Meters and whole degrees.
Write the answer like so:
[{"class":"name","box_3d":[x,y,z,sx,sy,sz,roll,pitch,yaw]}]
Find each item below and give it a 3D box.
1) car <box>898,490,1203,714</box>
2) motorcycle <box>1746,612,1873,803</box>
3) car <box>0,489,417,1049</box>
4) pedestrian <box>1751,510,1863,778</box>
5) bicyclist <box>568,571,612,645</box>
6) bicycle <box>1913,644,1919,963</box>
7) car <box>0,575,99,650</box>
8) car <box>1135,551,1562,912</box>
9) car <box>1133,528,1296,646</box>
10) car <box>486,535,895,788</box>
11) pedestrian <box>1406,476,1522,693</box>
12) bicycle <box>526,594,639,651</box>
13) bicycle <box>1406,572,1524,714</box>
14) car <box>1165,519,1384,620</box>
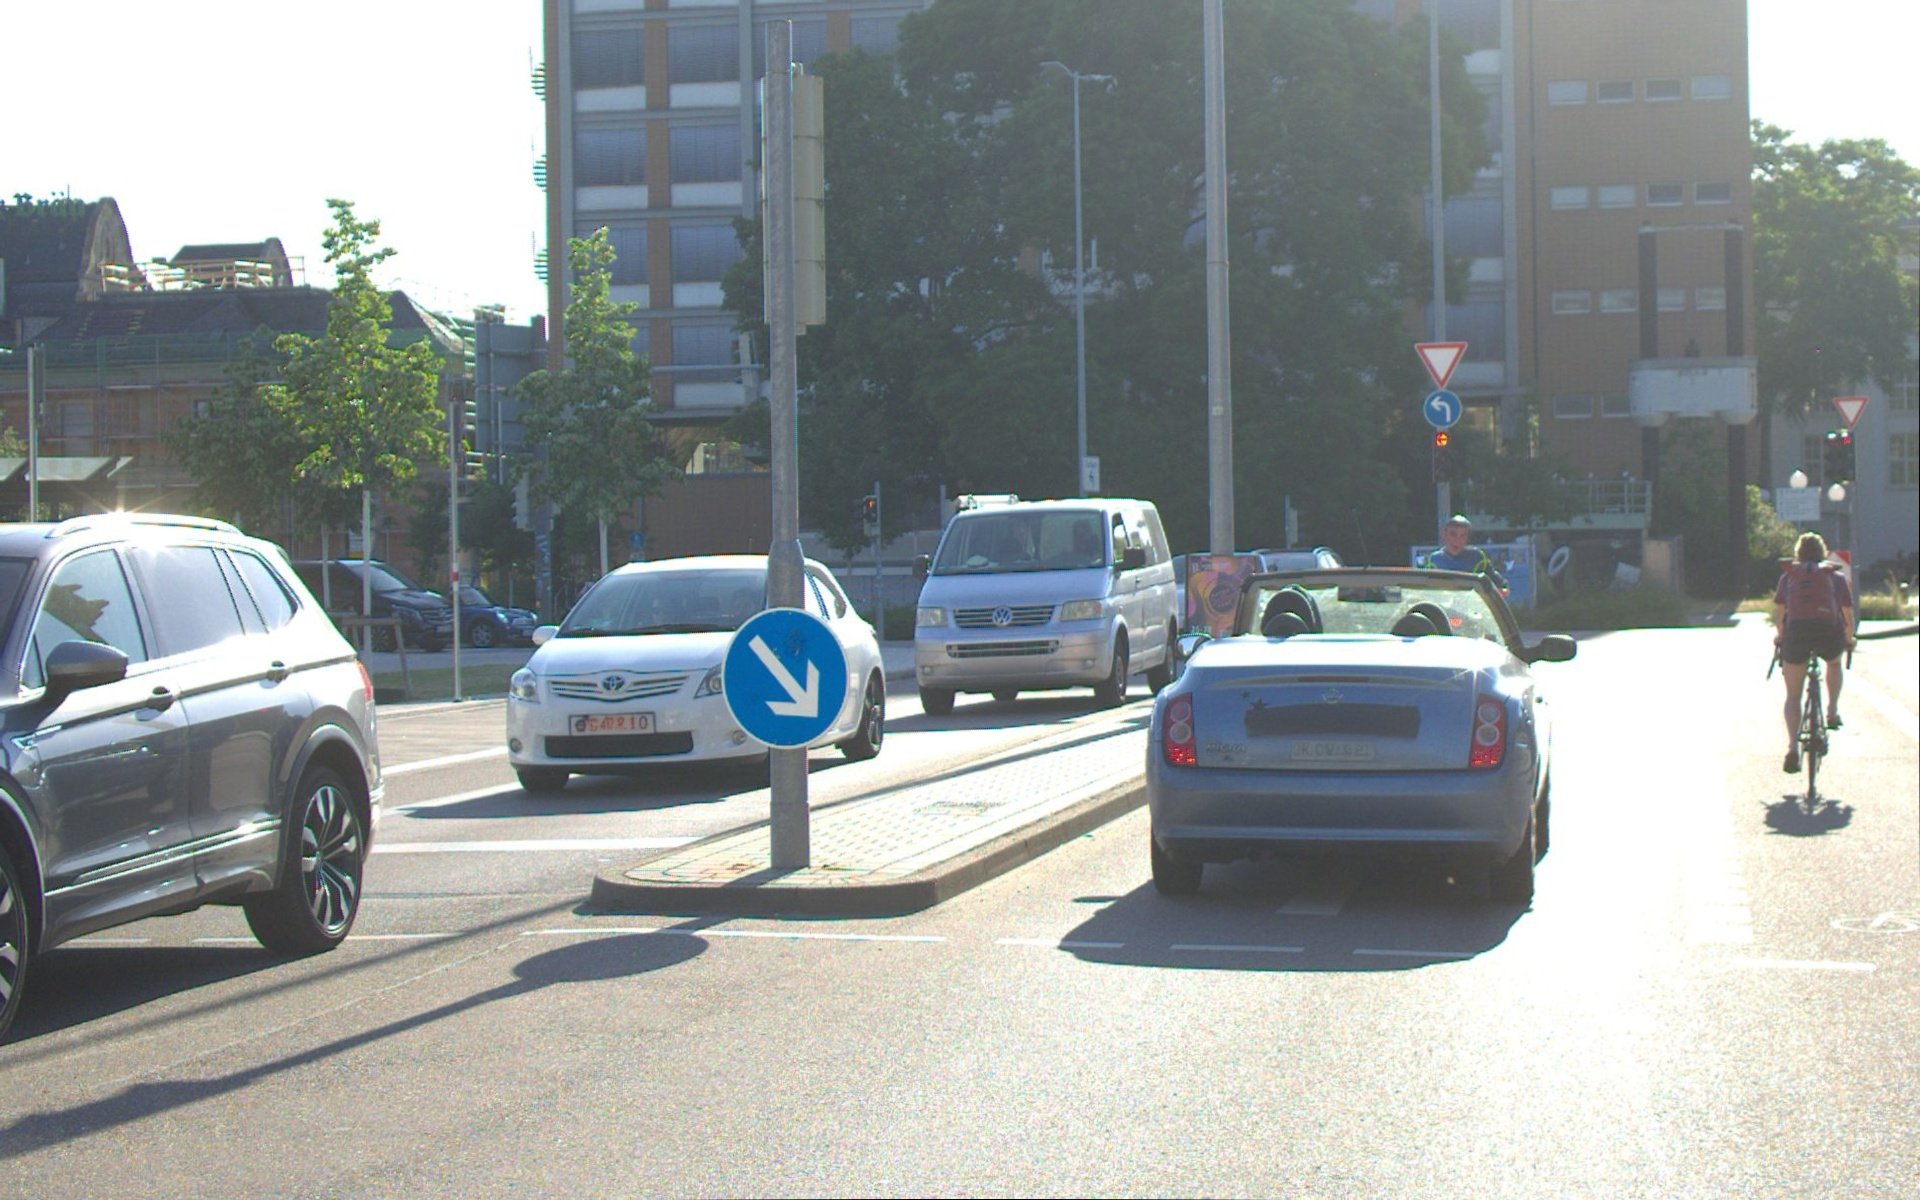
[{"class":"car","box_3d":[0.963,-0.011,33.078,1.910,1.938,4.703,-2,0,14]},{"class":"motorcycle","box_3d":[5.197,0.626,21.116,0.613,1.094,2.359,1,0,11]},{"class":"car","box_3d":[-3.548,0.526,11.805,1.762,1.700,4.528,-2,0,12]},{"class":"pedestrian","box_3d":[5.188,0.263,21.091,0.588,1.593,1.024,1,0,11]},{"class":"bicyclist","box_3d":[-8.078,0.180,75.100,0.752,1.593,0.589,1,0,19]},{"class":"bicycle","box_3d":[3.619,0.737,11.652,0.564,1.147,1.949,1,0,10]},{"class":"car","box_3d":[-20.308,0.272,73.946,3.596,1.555,1.641,0,1,39]},{"class":"car","box_3d":[1.932,0.534,16.062,1.661,1.436,4.152,1,0,11]},{"class":"car","box_3d":[3.607,-0.203,48.195,1.800,1.525,3.998,-2,0,11]},{"class":"car","box_3d":[-1.723,0.356,23.310,1.695,1.555,3.978,-1,1,12]},{"class":"pedestrian","box_3d":[4.418,-0.133,30.082,0.834,1.862,0.920,1,0,18]},{"class":"bicycle","box_3d":[-8.248,0.486,75.148,2.409,1.187,0.609,1,0,19]},{"class":"bicycle","box_3d":[4.454,0.368,30.201,0.608,1.187,2.412,1,0,18]},{"class":"car","box_3d":[5.140,-0.512,55.835,1.802,1.525,3.992,-2,1,34]}]
